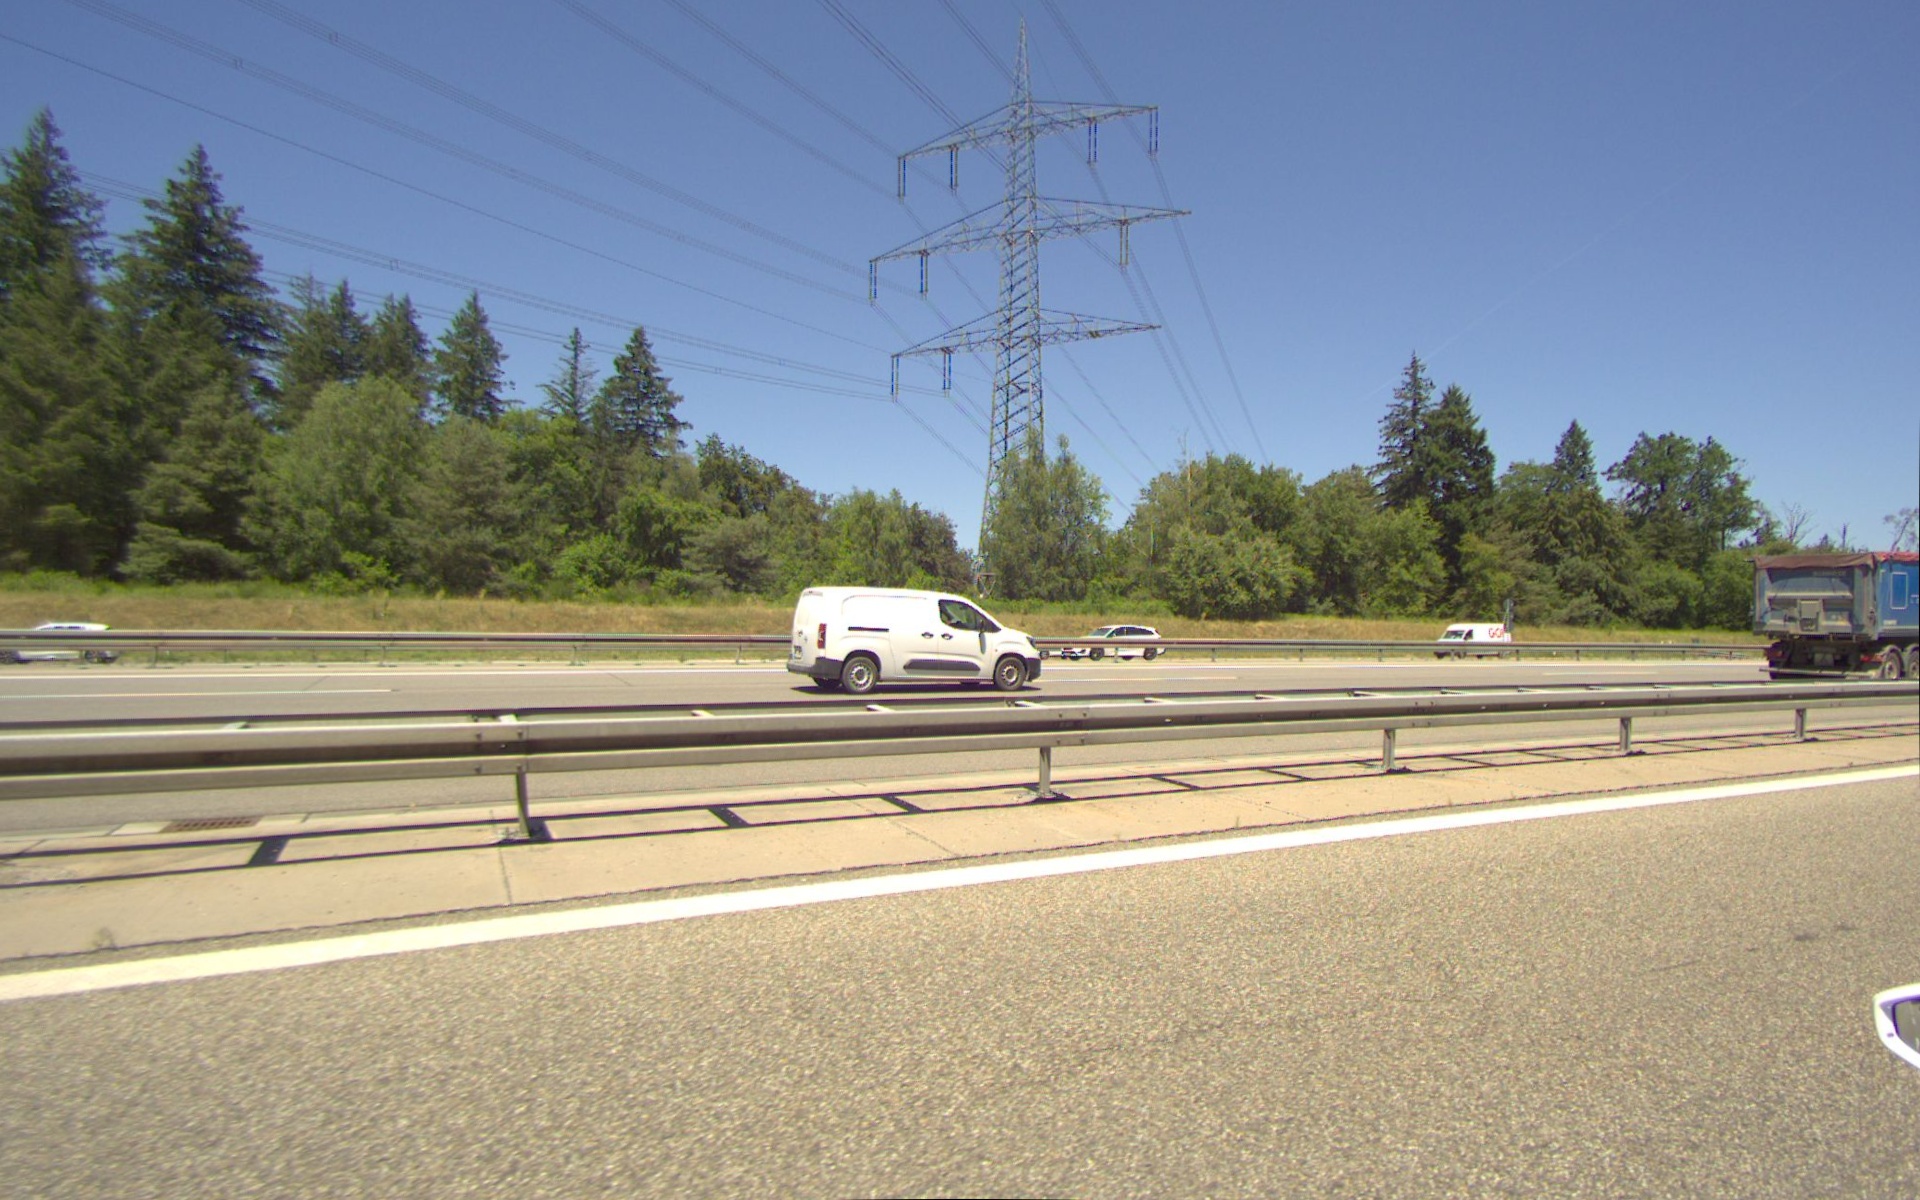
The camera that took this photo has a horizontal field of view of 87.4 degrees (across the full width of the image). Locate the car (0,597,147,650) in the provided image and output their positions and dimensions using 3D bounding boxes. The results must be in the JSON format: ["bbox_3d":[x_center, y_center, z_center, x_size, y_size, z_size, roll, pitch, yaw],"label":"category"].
[{"bbox_3d":[-32.833,0.861,37.109,3.952,1.806,1.985,2,-1,-29],"label":"car"}]

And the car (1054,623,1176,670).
[{"bbox_3d":[6.470,1.954,41.907,4.750,1.806,1.987,2,-1,-27],"label":"car"}]

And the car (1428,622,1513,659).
[{"bbox_3d":[37.924,3.004,74.605,6.824,2.577,1.986,2,-1,-27],"label":"car"}]

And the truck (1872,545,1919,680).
[{"bbox_3d":[29.588,0.404,29.480,4.561,3.858,2.747,1,-1,-26],"label":"truck"}]

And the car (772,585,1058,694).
[{"bbox_3d":[-0.778,0.719,18.382,4.956,1.777,1.765,2,-1,-28],"label":"car"}]

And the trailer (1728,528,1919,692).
[{"bbox_3d":[24.998,0.326,27.160,9.756,3.858,2.761,1,-1,-27],"label":"trailer"}]

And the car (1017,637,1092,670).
[{"bbox_3d":[5.570,3.151,59.416,3.948,1.806,1.987,2,-1,-27],"label":"car"}]
